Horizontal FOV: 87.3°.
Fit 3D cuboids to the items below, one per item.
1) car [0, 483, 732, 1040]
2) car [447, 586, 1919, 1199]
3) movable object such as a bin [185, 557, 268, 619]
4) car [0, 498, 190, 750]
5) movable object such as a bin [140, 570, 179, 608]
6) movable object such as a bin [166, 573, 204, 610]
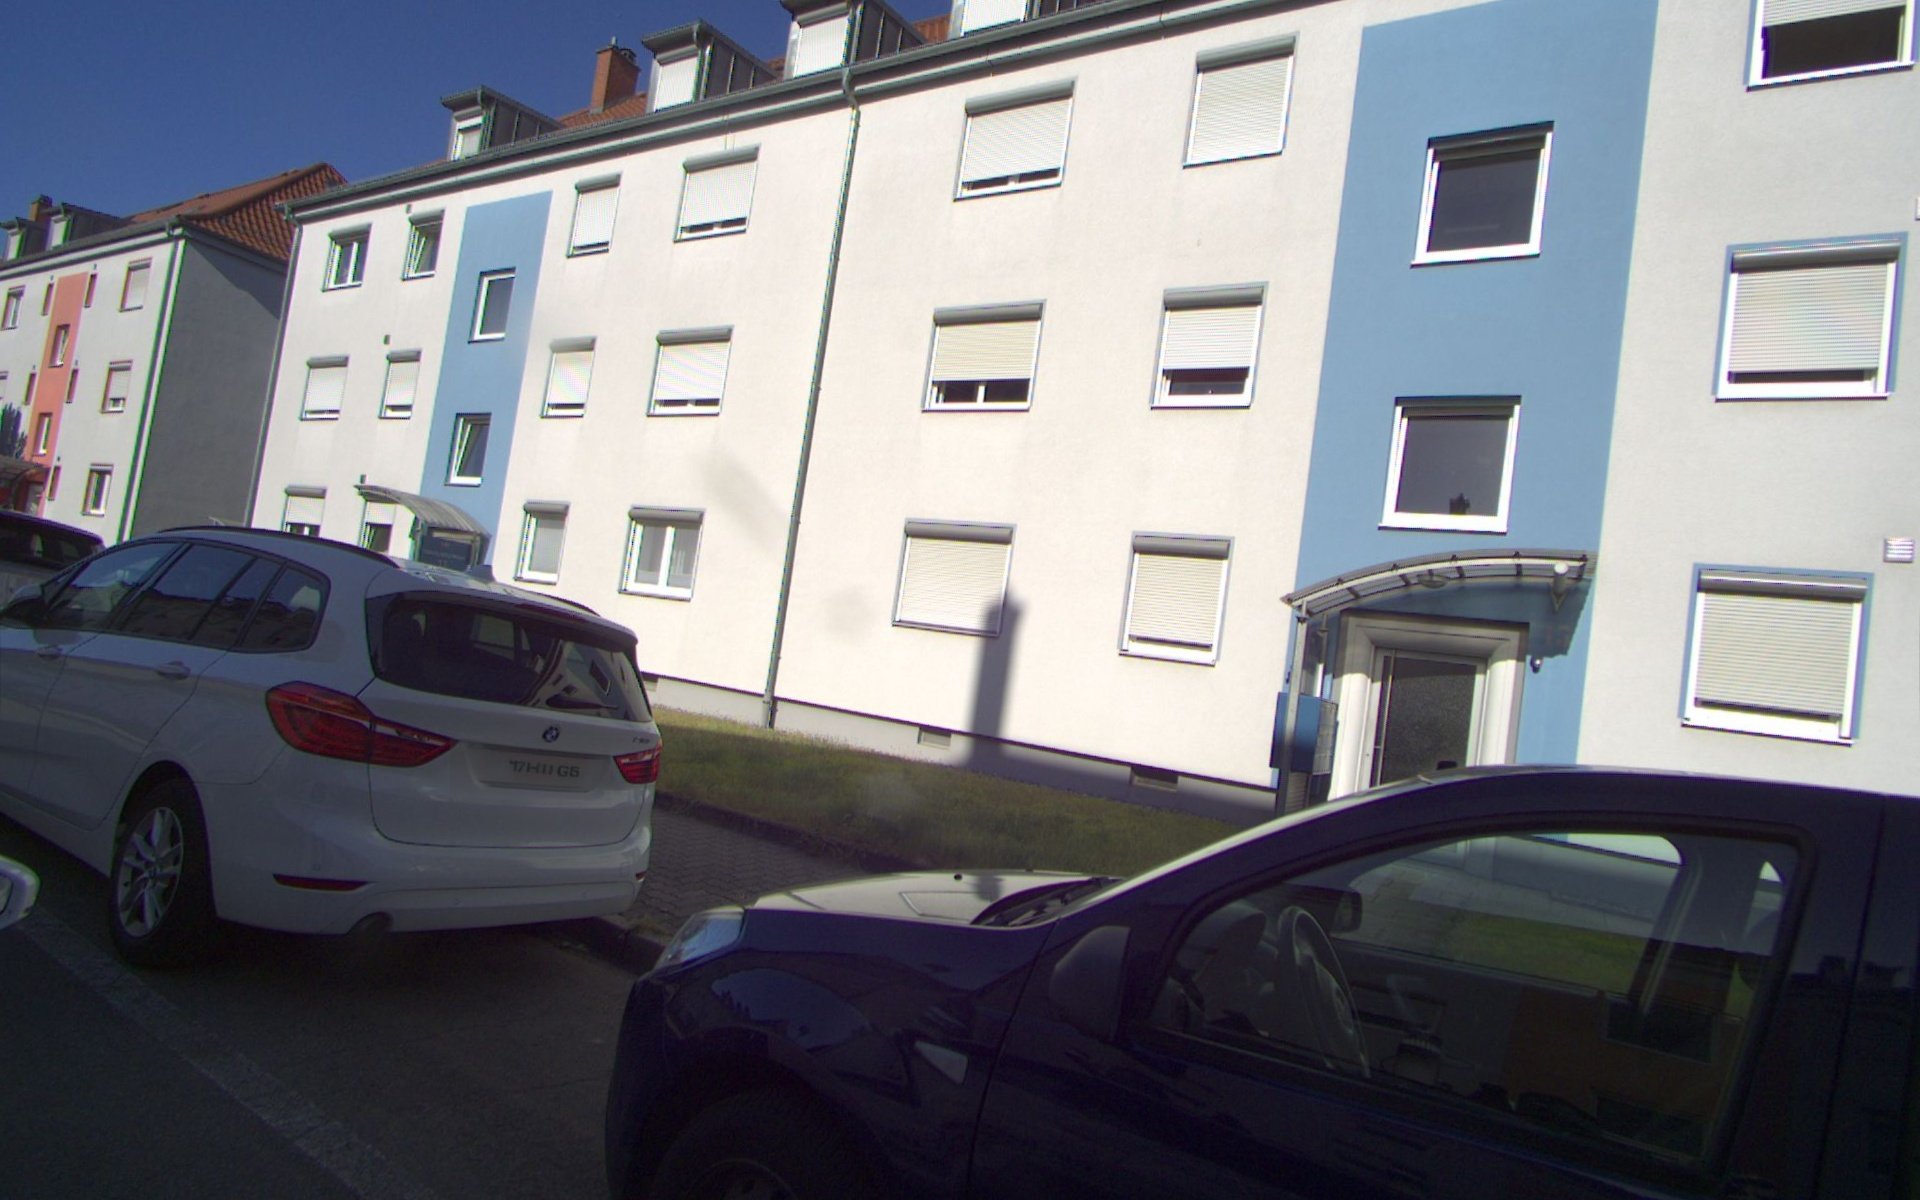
[{"bbox_3d":[-3.425,0.461,4.896,4.360,1.590,1.697,6,-5,31],"label":"car"},{"bbox_3d":[1.068,1.008,1.870,4.089,1.514,1.646,6,-4,33],"label":"car"},{"bbox_3d":[-20.400,-0.325,28.009,1.168,1.431,1.364,6,-4,31],"label":"movable object such as a bin"},{"bbox_3d":[-8.314,-0.047,7.953,4.376,1.632,1.758,6,-6,30],"label":"car"},{"bbox_3d":[-21.283,-0.300,26.763,0.622,0.895,0.524,6,-4,32],"label":"movable object such as a bin"},{"bbox_3d":[-20.984,-0.235,27.230,0.622,0.895,0.524,6,-4,32],"label":"movable object such as a bin"}]
